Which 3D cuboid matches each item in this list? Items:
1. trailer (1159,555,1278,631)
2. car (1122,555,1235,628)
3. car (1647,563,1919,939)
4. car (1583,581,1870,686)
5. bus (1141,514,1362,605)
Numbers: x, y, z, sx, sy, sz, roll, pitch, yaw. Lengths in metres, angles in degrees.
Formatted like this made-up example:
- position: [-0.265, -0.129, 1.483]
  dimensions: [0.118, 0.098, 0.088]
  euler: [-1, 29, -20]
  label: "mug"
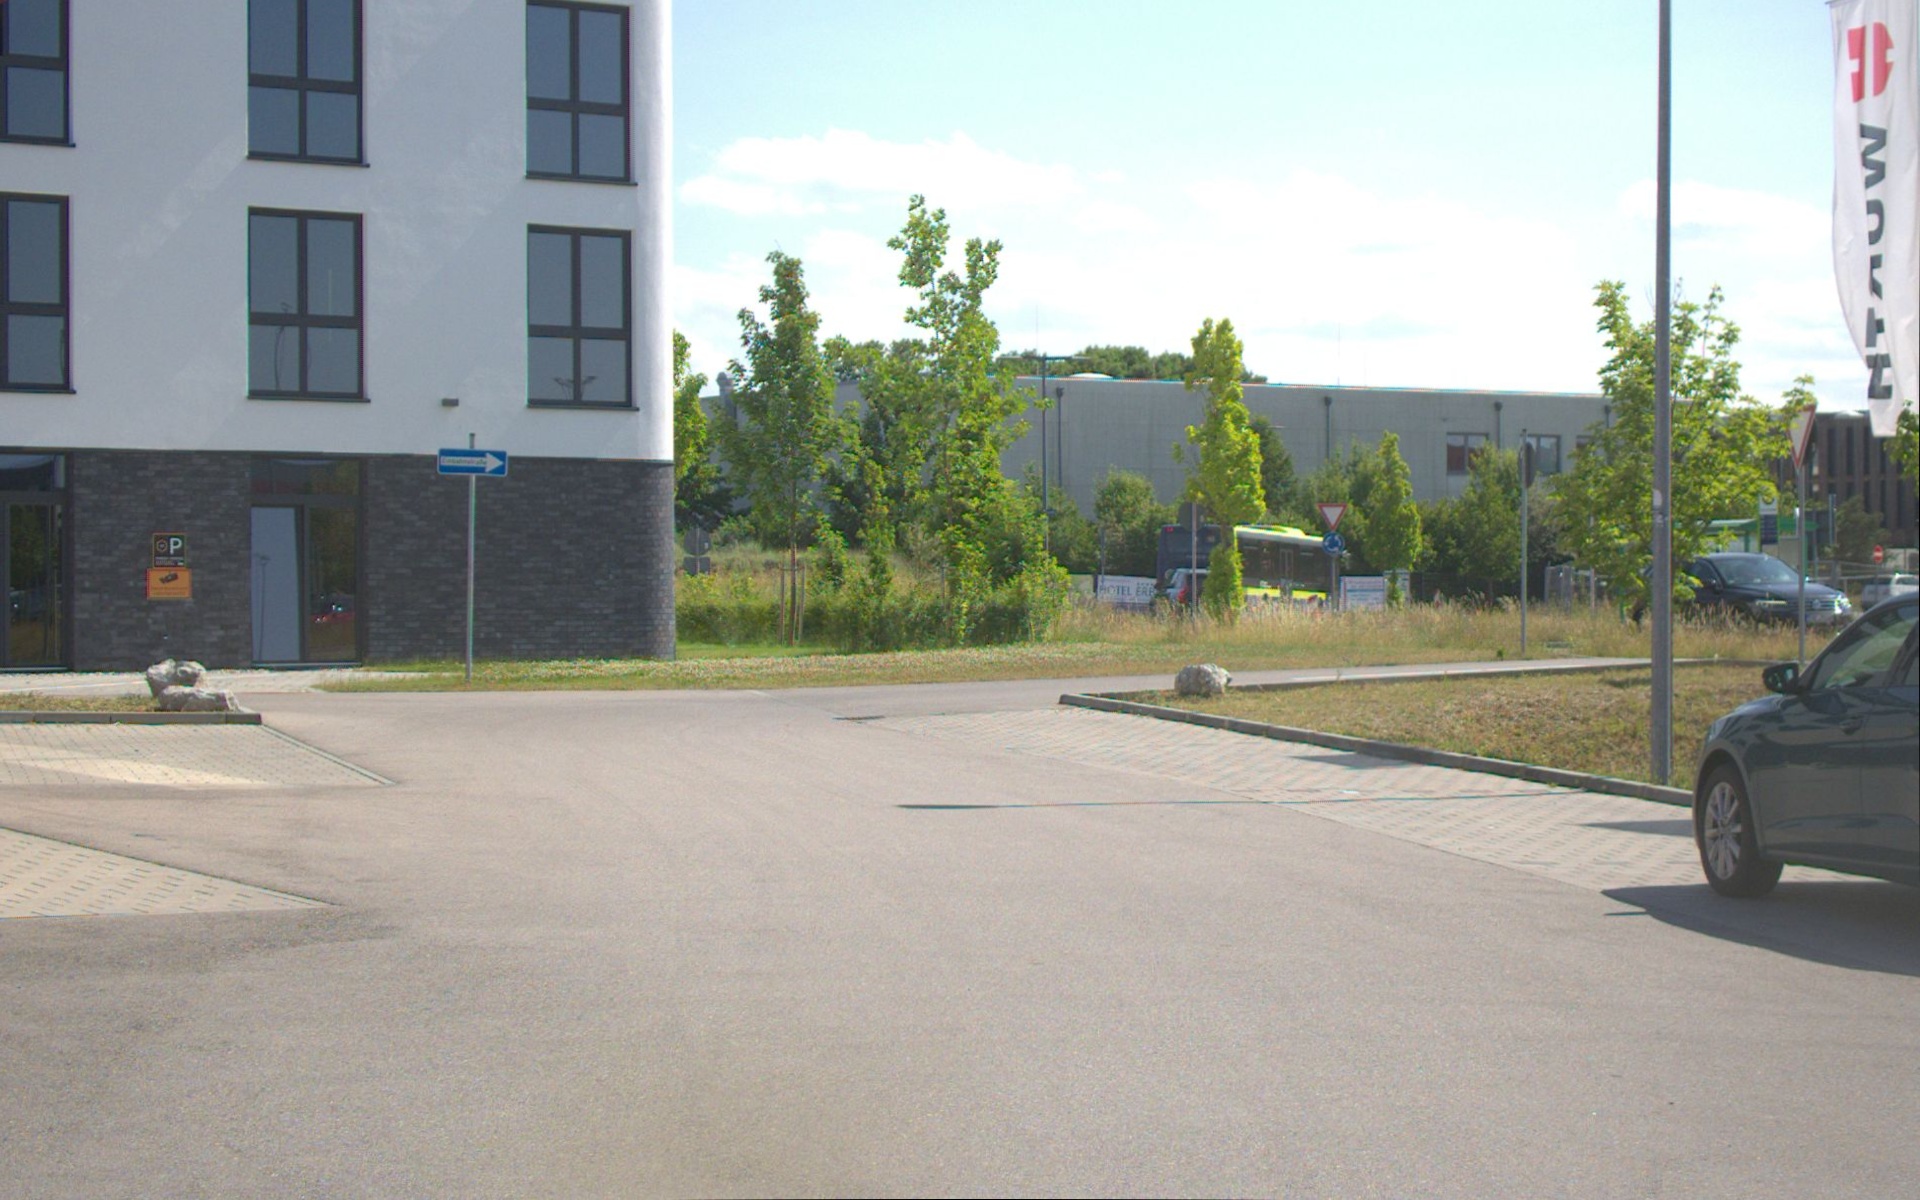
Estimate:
- position: [6.463, -0.188, 86.346]
  dimensions: [1.822, 1.853, 4.001]
  euler: [1, 1, -14]
  label: "trailer"
- position: [5.705, -0.239, 90.216]
  dimensions: [1.822, 1.853, 4.001]
  euler: [1, 1, -14]
  label: "car"
- position: [4.511, 0.580, 14.446]
  dimensions: [1.839, 1.444, 4.228]
  euler: [0, 1, -9]
  label: "car"
- position: [12.198, 0.503, 55.038]
  dimensions: [1.940, 1.546, 4.762]
  euler: [0, 1, -25]
  label: "car"
- position: [9.318, -1.306, 108.211]
  dimensions: [2.576, 2.726, 11.551]
  euler: [1, 1, 28]
  label: "bus"
